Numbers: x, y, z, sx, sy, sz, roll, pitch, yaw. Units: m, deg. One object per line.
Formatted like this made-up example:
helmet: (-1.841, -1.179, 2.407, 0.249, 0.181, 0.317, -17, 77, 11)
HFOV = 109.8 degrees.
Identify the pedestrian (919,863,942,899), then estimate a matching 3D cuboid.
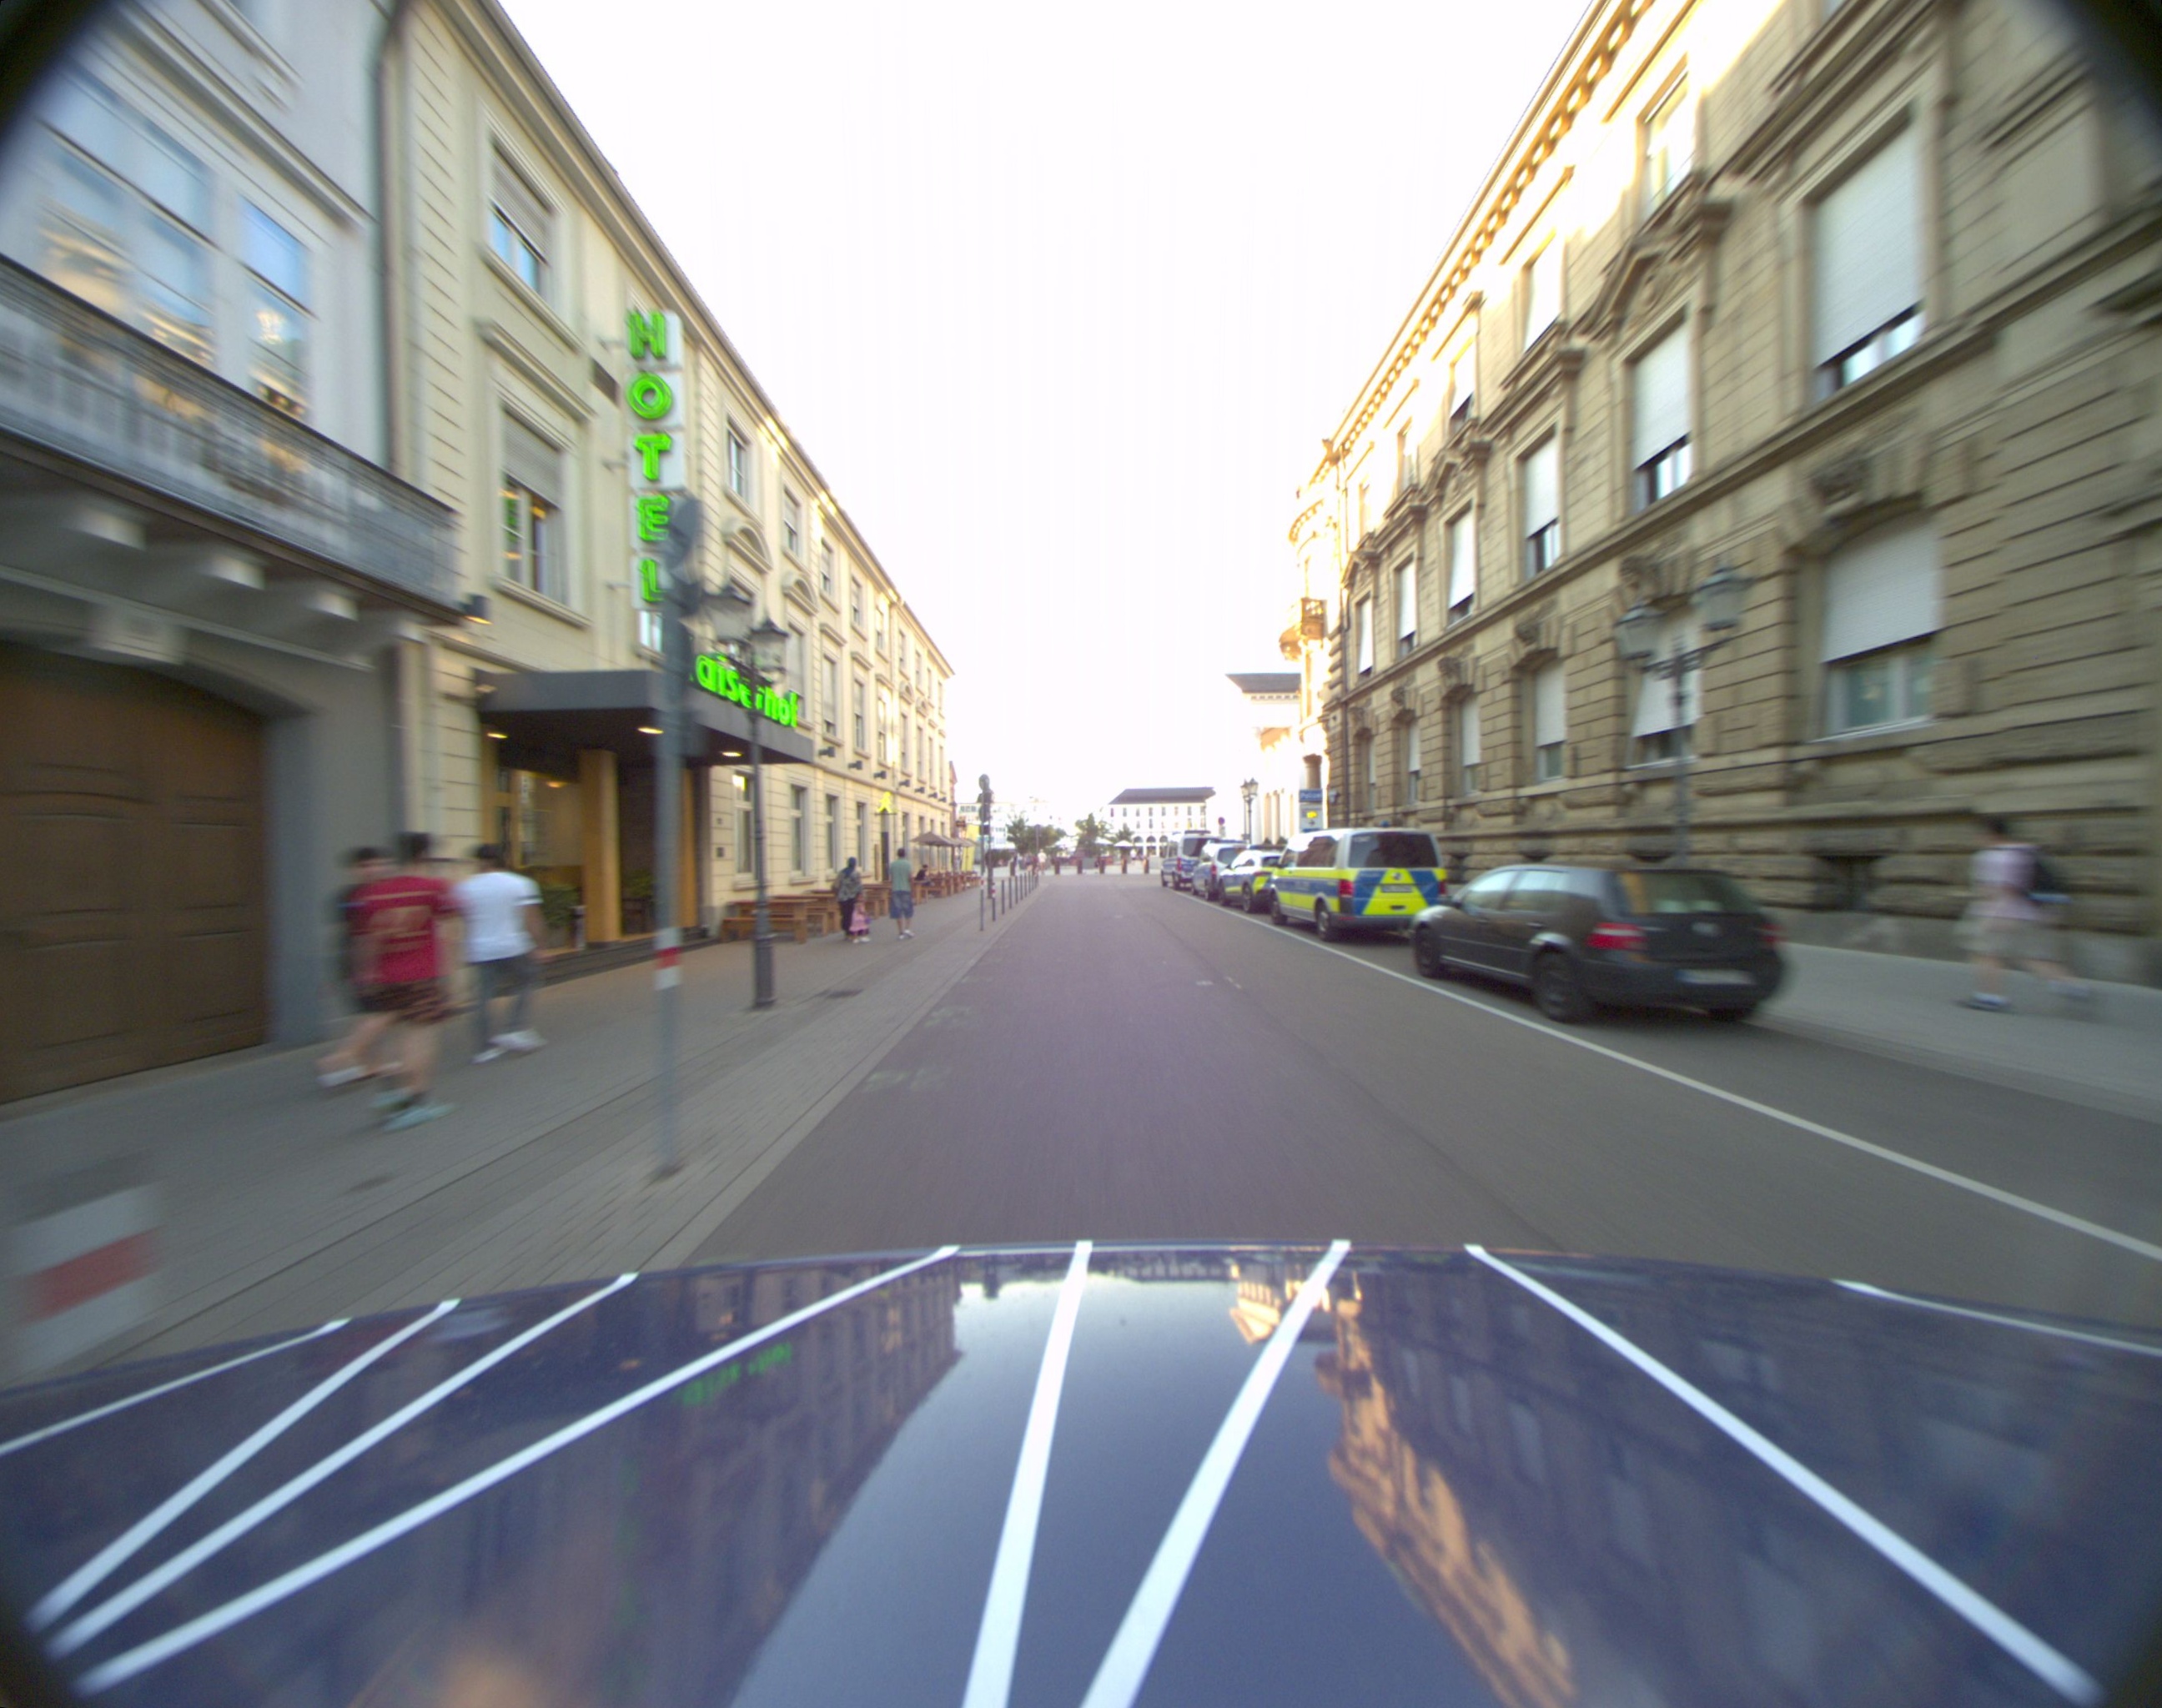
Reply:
pedestrian: (-5.809, 1.044, 29.294, 0.777, 1.351, 0.723, -1, 1, -16)

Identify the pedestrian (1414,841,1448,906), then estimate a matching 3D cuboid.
pedestrian: (9.560, 0.527, 20.755, 0.608, 1.720, 0.703, -1, 1, 1)

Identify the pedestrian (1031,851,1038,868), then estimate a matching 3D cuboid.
pedestrian: (-4.447, 0.510, 72.807, 0.684, 1.557, 0.652, -1, 1, -2)

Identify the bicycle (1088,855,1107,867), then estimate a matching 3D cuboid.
bicycle: (1.668, 0.702, 75.821, 1.683, 1.115, 0.846, -1, 1, 34)

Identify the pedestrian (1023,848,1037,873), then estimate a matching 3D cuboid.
pedestrian: (-3.584, 0.482, 52.966, 0.607, 1.720, 0.719, 0, 1, 43)

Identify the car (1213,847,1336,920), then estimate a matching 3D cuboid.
car: (5.079, 0.683, 20.758, 1.999, 1.742, 4.989, -1, 1, -1)

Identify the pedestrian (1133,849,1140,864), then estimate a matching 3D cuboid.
pedestrian: (6.709, 0.290, 92.110, 0.856, 1.720, 0.881, -1, 1, 3)

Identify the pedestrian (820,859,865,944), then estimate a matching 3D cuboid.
pedestrian: (-4.605, 0.905, 14.709, 0.631, 1.591, 0.615, -1, 1, 1)

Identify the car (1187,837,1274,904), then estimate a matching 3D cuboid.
car: (5.032, 0.478, 26.323, 1.998, 2.075, 5.206, -1, 1, 0)

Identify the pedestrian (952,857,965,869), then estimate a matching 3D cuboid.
pedestrian: (-14.242, 1.033, 88.222, 1.405, 1.255, 1.326, -1, 1, -13)

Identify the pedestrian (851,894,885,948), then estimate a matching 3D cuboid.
pedestrian: (-4.042, 1.263, 14.466, 0.461, 0.974, 0.558, -1, 1, 1)

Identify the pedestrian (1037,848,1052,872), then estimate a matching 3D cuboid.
pedestrian: (-2.523, 0.419, 53.124, 0.667, 1.720, 0.767, 0, 1, 43)

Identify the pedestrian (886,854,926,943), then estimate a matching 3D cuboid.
pedestrian: (-3.457, 0.871, 15.051, 0.608, 1.720, 0.558, -1, 1, 1)

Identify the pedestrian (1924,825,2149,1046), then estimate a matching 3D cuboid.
pedestrian: (8.107, 0.651, 6.498, 0.715, 1.720, 0.896, -4, 1, 1)

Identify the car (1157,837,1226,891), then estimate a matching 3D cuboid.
car: (4.726, 0.401, 33.312, 1.999, 2.158, 5.205, -1, 0, -3)

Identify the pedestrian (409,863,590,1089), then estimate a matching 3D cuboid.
pedestrian: (-4.754, 0.945, 6.276, 0.749, 1.720, 0.881, -1, 1, 3)

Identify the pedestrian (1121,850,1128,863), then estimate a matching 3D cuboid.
pedestrian: (5.451, 0.308, 95.038, 0.856, 1.720, 0.881, -1, 1, 3)

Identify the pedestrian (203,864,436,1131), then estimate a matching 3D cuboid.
pedestrian: (-5.344, 0.947, 5.399, 0.715, 1.720, 0.873, -1, 1, 2)

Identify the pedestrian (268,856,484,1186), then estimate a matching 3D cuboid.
pedestrian: (-4.228, 0.905, 4.641, 0.623, 1.779, 0.912, -1, 1, -21)

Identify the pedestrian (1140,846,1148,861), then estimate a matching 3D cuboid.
pedestrian: (7.579, -0.060, 91.492, 0.856, 1.720, 0.881, -1, 1, 3)

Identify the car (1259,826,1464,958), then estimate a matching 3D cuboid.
car: (5.034, 0.569, 14.549, 1.999, 2.065, 4.988, -1, 1, -1)

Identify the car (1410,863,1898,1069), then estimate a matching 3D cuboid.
car: (5.346, 0.895, 7.976, 1.998, 1.486, 4.164, -1, 1, 0)

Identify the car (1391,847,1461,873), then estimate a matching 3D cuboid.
car: (24.174, 0.380, 53.302, 3.996, 1.726, 2.000, -1, 1, 4)
